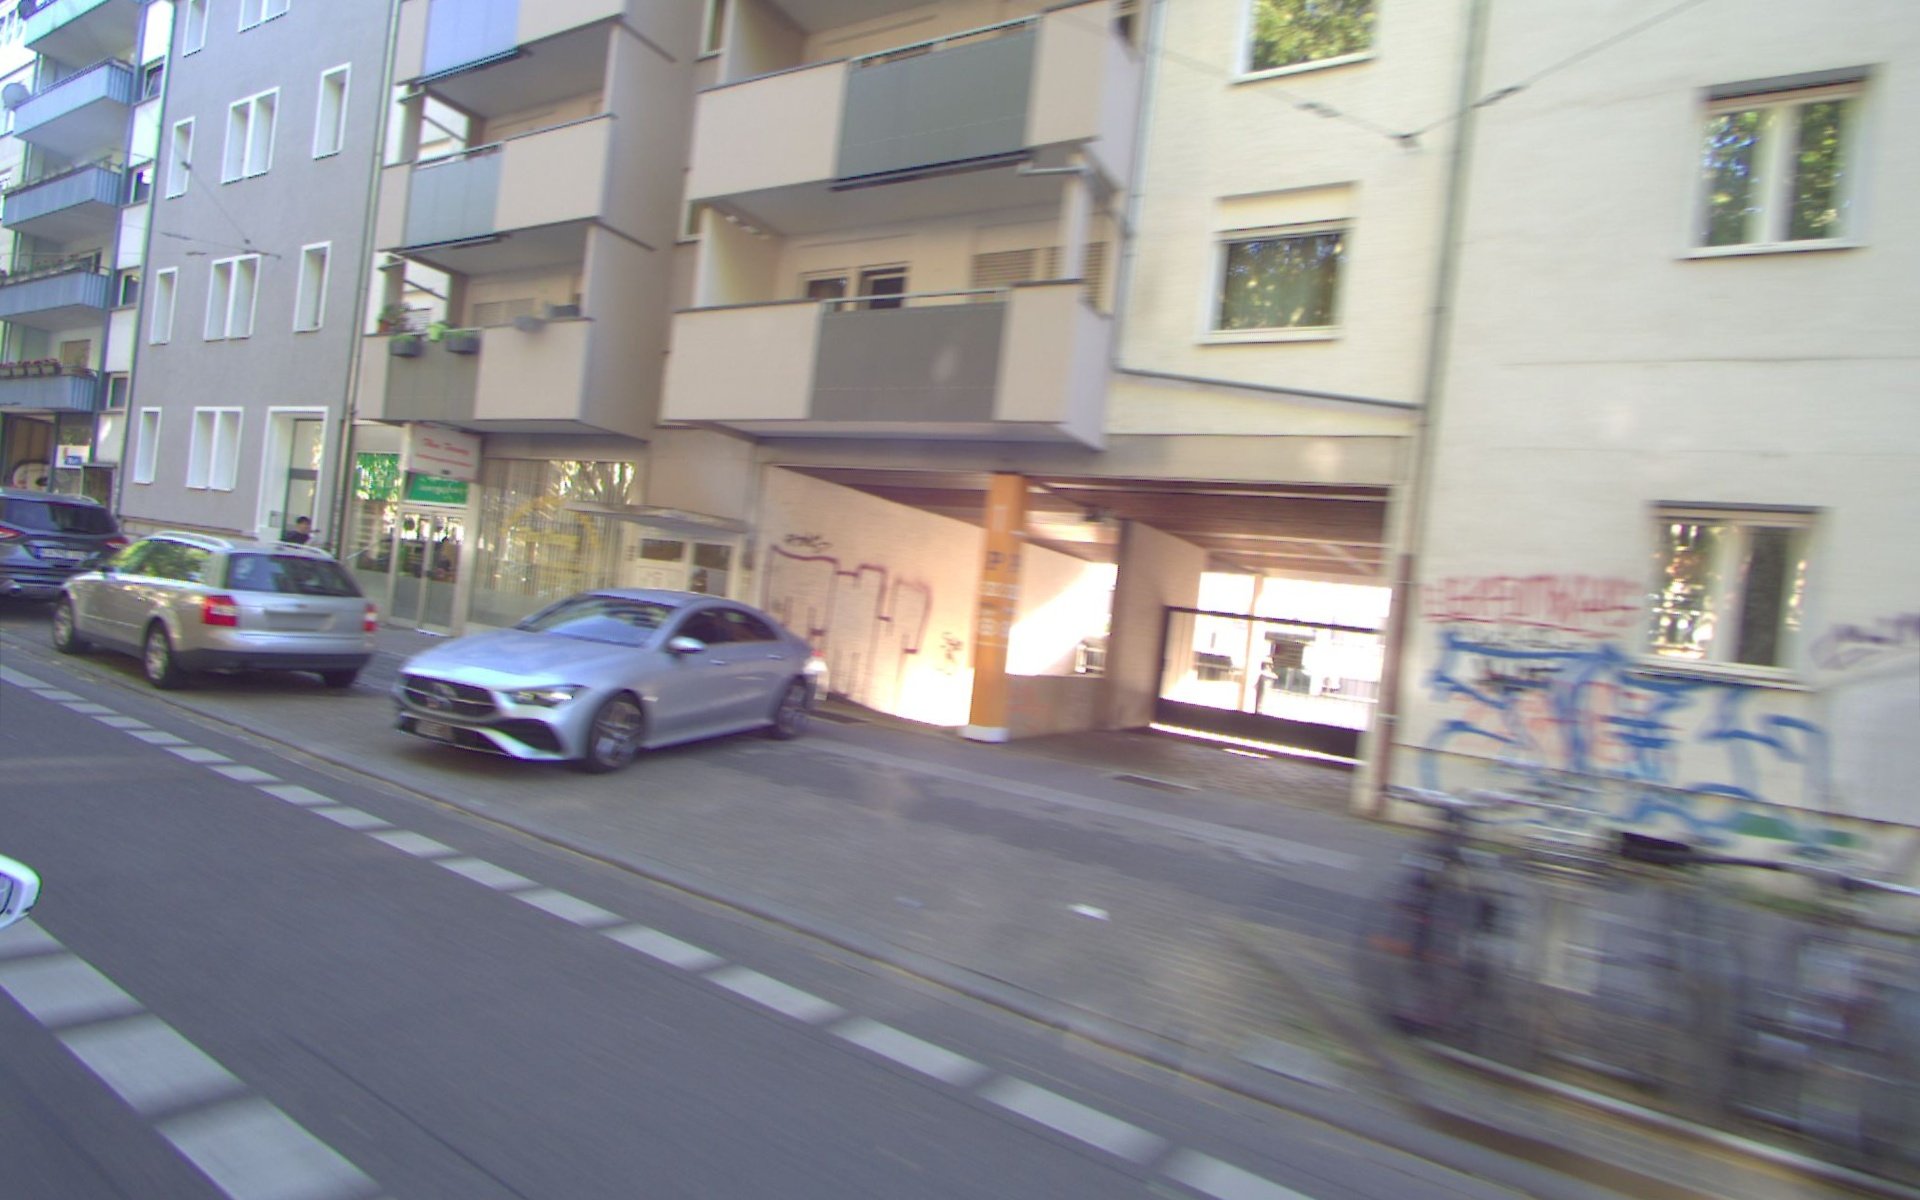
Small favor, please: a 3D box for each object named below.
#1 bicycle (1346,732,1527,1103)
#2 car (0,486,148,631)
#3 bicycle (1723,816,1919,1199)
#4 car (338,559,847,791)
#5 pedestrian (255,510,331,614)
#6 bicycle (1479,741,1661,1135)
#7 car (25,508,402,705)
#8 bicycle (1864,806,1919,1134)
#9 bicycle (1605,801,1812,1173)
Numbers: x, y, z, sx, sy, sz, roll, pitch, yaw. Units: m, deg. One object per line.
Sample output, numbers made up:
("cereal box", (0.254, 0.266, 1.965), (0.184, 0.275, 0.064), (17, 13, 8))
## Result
("bicycle", (2.272, 1.308, 4.673), (0.449, 1.207, 1.893), (7, 1, 31))
("car", (-13.455, -0.698, 14.106), (4.211, 1.725, 1.769), (6, -1, 31))
("bicycle", (3.452, 1.516, 3.954), (0.449, 1.034, 1.654), (7, 1, 31))
("car", (-2.999, 0.587, 9.473), (1.830, 1.456, 4.626), (7, 1, 21))
("pedestrian", (-11.986, -0.673, 18.076), (0.708, 1.741, 0.757), (7, 0, 30))
("bicycle", (2.687, 1.326, 4.455), (0.449, 1.207, 1.824), (7, 1, 31))
("car", (-8.043, 0.015, 10.710), (4.440, 1.544, 1.726), (6, -1, 34))
("bicycle", (4.009, 1.498, 3.623), (0.693, 1.163, 1.795), (7, 1, 31))
("bicycle", (3.053, 1.475, 4.221), (0.449, 0.978, 1.654), (7, 1, 31))
